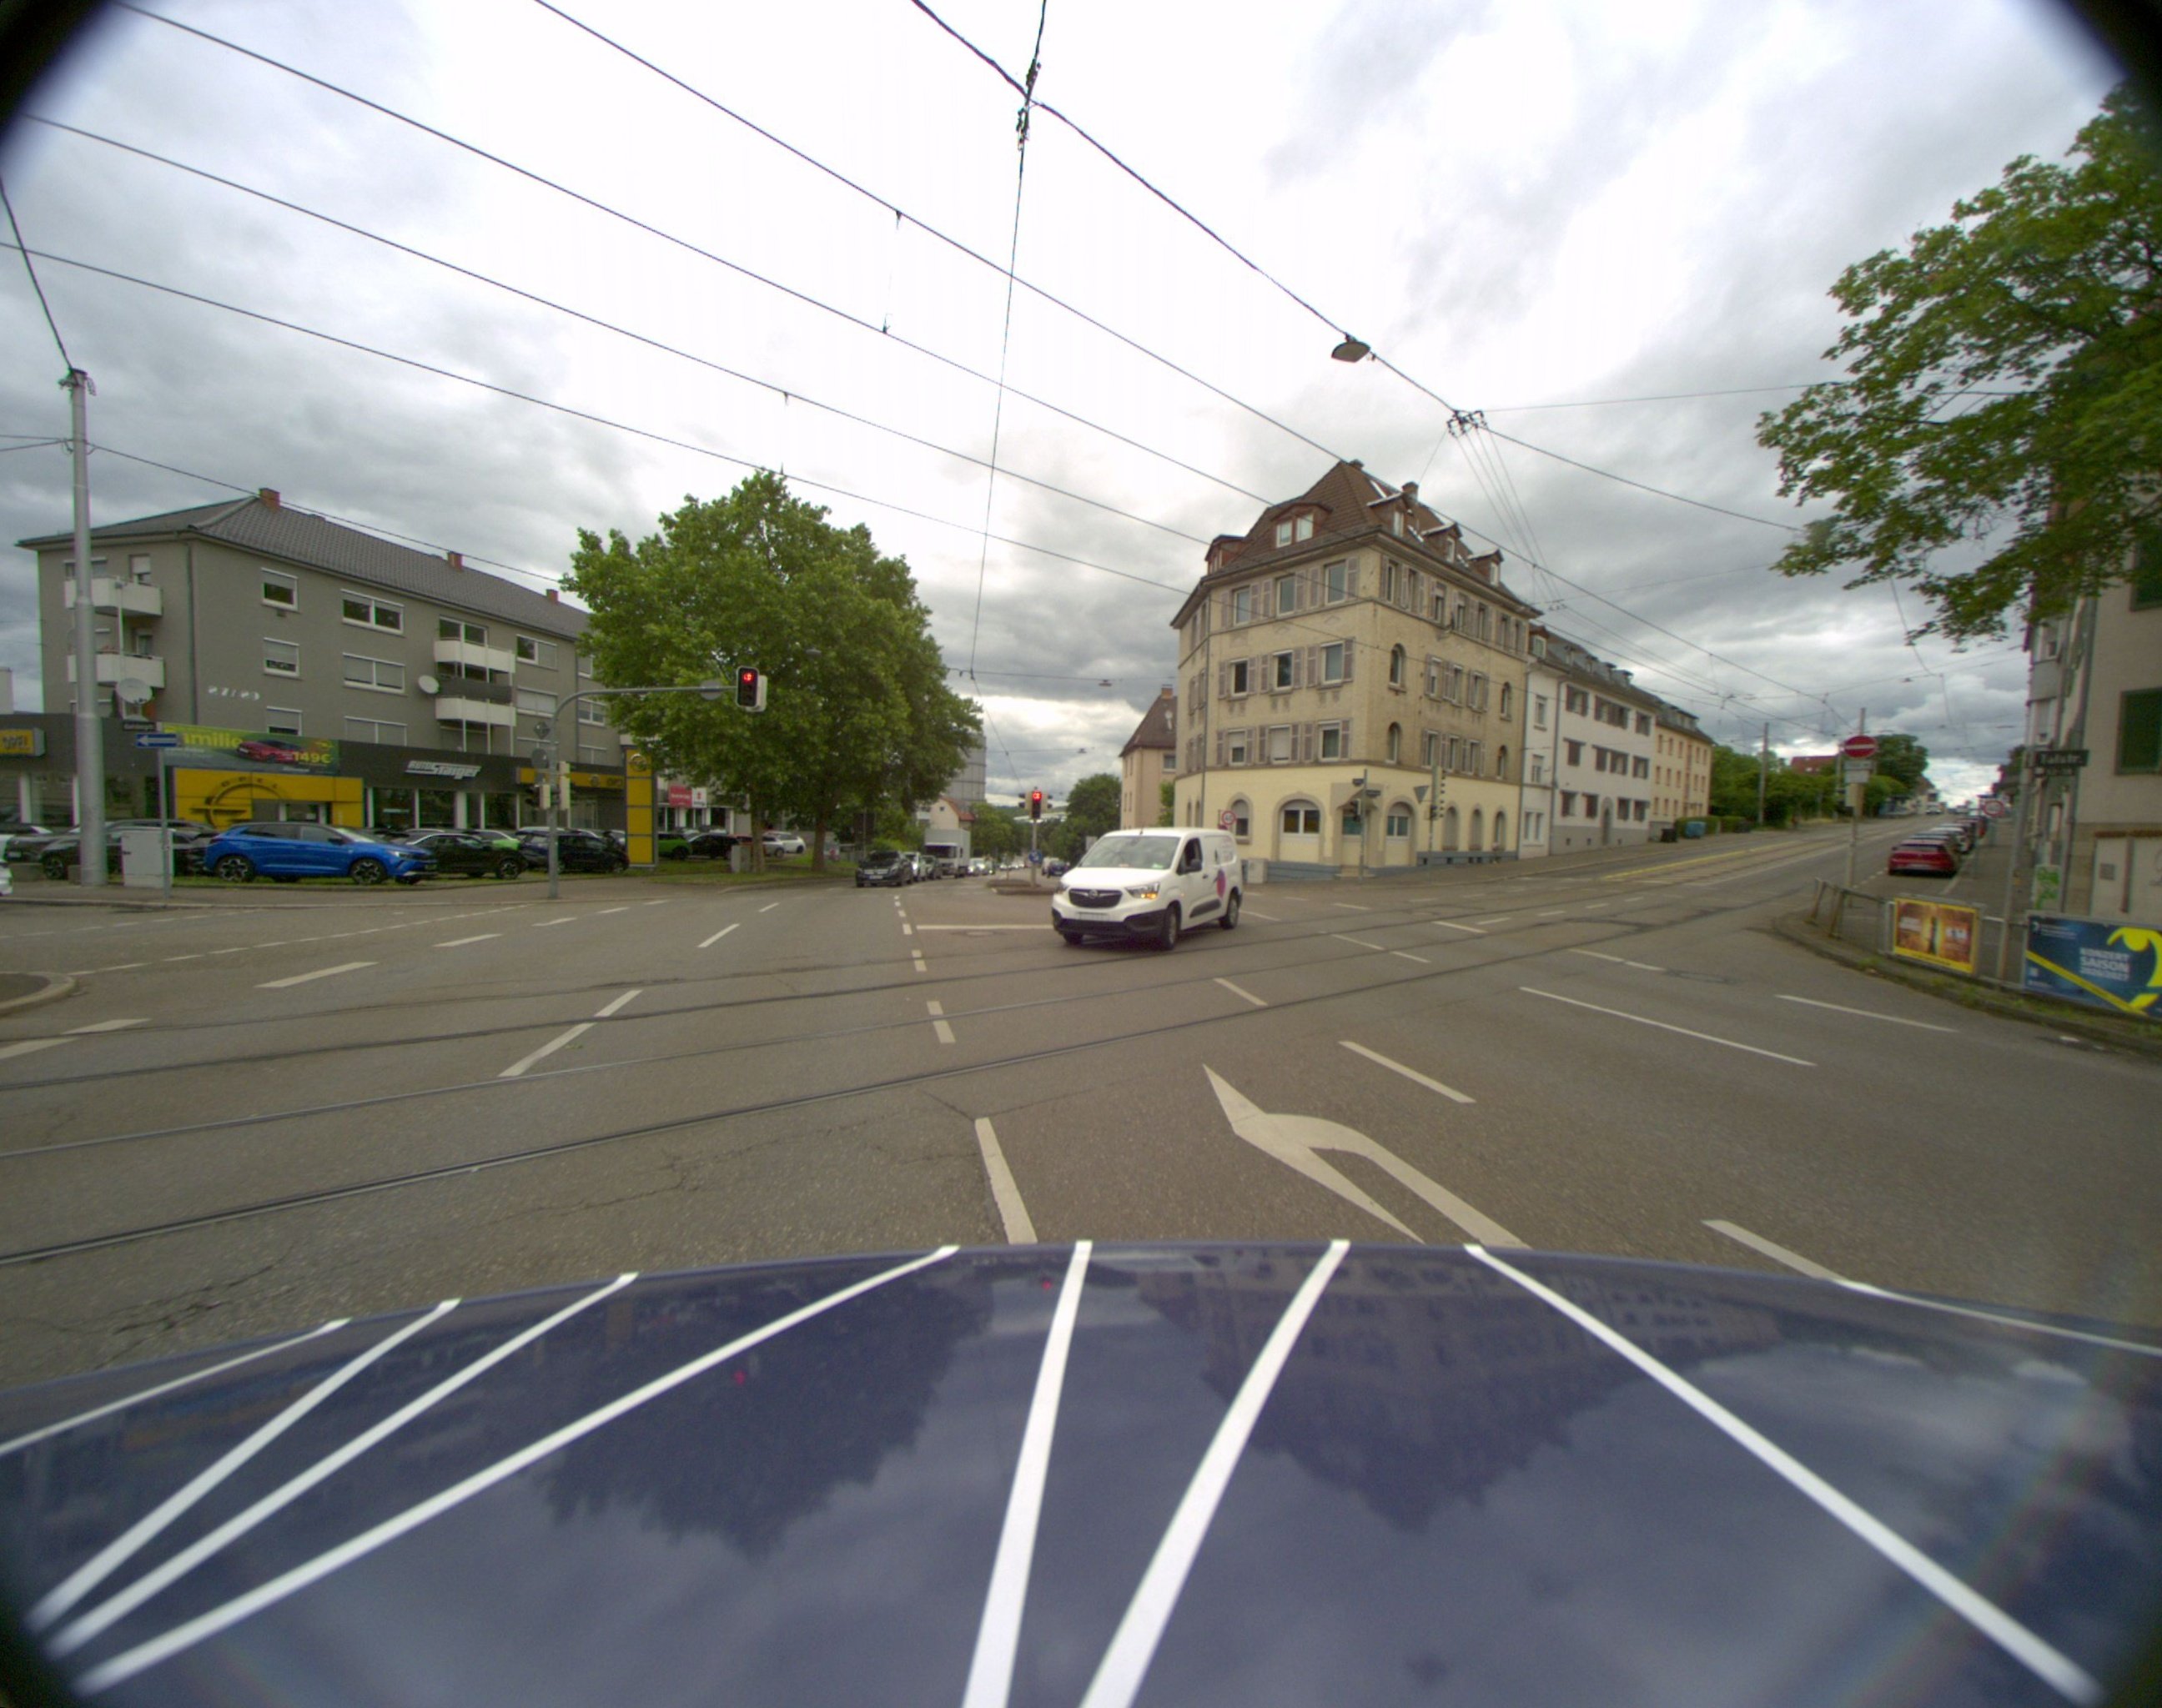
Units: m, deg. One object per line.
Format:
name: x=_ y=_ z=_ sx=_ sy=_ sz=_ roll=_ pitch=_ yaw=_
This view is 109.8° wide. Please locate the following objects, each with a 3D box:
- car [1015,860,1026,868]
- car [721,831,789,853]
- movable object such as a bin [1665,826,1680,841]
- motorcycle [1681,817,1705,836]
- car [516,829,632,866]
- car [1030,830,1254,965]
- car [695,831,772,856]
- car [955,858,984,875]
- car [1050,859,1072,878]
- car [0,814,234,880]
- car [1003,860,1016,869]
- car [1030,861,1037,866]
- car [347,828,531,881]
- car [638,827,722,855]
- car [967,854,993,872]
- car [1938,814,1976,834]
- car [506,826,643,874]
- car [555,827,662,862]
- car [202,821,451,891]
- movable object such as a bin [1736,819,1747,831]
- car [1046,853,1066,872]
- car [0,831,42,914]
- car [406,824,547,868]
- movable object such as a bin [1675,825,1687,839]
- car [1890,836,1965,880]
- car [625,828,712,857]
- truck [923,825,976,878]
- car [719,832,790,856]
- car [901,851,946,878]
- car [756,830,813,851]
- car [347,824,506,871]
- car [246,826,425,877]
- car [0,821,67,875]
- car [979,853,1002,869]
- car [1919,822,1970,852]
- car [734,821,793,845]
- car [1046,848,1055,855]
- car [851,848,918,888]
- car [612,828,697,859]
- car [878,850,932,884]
car: x=-12.574 y=2.121 z=157.559 sx=1.999 sy=1.590 sz=3.999 roll=-1 pitch=0 yaw=-2
car: x=-23.119 y=-0.838 z=53.925 sx=4.008 sy=1.496 sz=1.857 roll=1 pitch=1 yaw=-39
movable object such as a bin: x=41.948 y=-1.490 z=53.911 sx=0.603 sy=1.004 sz=0.636 roll=-3 pitch=8 yaw=-39
motorcycle: x=47.849 y=-2.147 z=59.400 sx=1.939 sy=1.384 sz=0.729 roll=-2 pitch=8 yaw=-33
car: x=-23.154 y=-0.285 z=34.846 sx=4.000 sy=1.541 sz=1.861 roll=1 pitch=1 yaw=-7
car: x=1.254 y=0.541 z=12.766 sx=1.884 sy=1.828 sz=4.685 roll=1 pitch=1 yaw=30
car: x=-21.918 y=-0.655 z=48.043 sx=1.857 sy=1.496 sz=4.009 roll=3 pitch=1 yaw=39
car: x=-9.256 y=1.012 z=63.594 sx=1.918 sy=1.291 sz=4.407 roll=0 pitch=1 yaw=-2
car: x=-1.615 y=1.156 z=62.506 sx=1.759 sy=1.439 sz=3.750 roll=0 pitch=1 yaw=-1
car: x=-29.238 y=-0.213 z=23.238 sx=1.710 sy=1.770 sz=4.247 roll=2 pitch=1 yaw=6
car: x=-12.432 y=1.800 z=132.970 sx=1.999 sy=1.590 sz=3.999 roll=-1 pitch=0 yaw=-2
car: x=-15.215 y=3.029 z=241.636 sx=1.999 sy=1.590 sz=3.999 roll=-1 pitch=0 yaw=-2
car: x=-20.082 y=0.059 z=24.000 sx=1.825 sy=1.468 sz=4.007 roll=2 pitch=0 yaw=19
car: x=-23.397 y=-0.748 z=44.393 sx=4.008 sy=1.496 sz=1.857 roll=1 pitch=1 yaw=-39
car: x=-9.467 y=0.823 z=71.713 sx=1.999 sy=1.620 sz=4.407 roll=0 pitch=1 yaw=-2
car: x=72.687 y=-2.550 z=63.099 sx=3.958 sy=1.451 sz=1.738 roll=-5 pitch=8 yaw=-44
car: x=-19.998 y=-0.110 z=30.215 sx=1.825 sy=1.598 sz=4.176 roll=8 pitch=1 yaw=19
car: x=-22.842 y=-0.449 z=36.879 sx=4.000 sy=1.541 sz=1.861 roll=1 pitch=1 yaw=-7
car: x=-19.555 y=0.067 z=19.923 sx=4.261 sy=1.568 sz=1.827 roll=3 pitch=0 yaw=-13
movable object such as a bin: x=61.058 y=-2.666 z=70.231 sx=0.540 sy=1.054 sz=0.668 roll=-3 pitch=4 yaw=-39
car: x=-2.754 y=0.861 z=82.336 sx=1.870 sy=1.872 sz=4.283 roll=3 pitch=0 yaw=-5
car: x=-22.282 y=0.280 z=13.978 sx=4.136 sy=1.526 sz=1.919 roll=2 pitch=1 yaw=6
car: x=-23.682 y=-0.316 z=29.874 sx=3.998 sy=1.541 sz=1.862 roll=2 pitch=1 yaw=-3
movable object such as a bin: x=42.958 y=-1.575 z=54.390 sx=0.563 sy=1.004 sz=0.499 roll=8 pitch=8 yaw=41
car: x=34.798 y=0.101 z=31.207 sx=4.268 sy=1.431 sz=1.784 roll=-4 pitch=7 yaw=-39
car: x=-22.966 y=-0.610 z=42.341 sx=4.008 sy=1.496 sz=1.750 roll=1 pitch=1 yaw=-39
truck: x=-9.301 y=-0.199 z=54.541 sx=2.772 sy=3.482 sz=8.166 roll=0 pitch=1 yaw=-3
car: x=-22.007 y=-0.639 z=51.321 sx=1.857 sy=1.496 sz=4.009 roll=3 pitch=2 yaw=42
car: x=-9.113 y=0.579 z=44.268 sx=1.999 sy=1.457 sz=4.406 roll=0 pitch=1 yaw=-5
car: x=-22.491 y=-0.979 z=57.761 sx=1.786 sy=1.496 sz=3.625 roll=2 pitch=1 yaw=34
car: x=-23.717 y=-0.248 z=27.684 sx=4.000 sy=1.541 sz=1.861 roll=1 pitch=1 yaw=-8
car: x=-24.674 y=-0.098 z=25.263 sx=3.998 sy=1.541 sz=1.862 roll=2 pitch=1 yaw=-3
car: x=-32.206 y=-0.194 z=21.321 sx=1.790 sy=1.526 sz=4.122 roll=3 pitch=1 yaw=14
car: x=-9.648 y=0.740 z=81.144 sx=1.999 sy=1.620 sz=4.407 roll=0 pitch=1 yaw=-2
car: x=49.969 y=-1.007 z=43.934 sx=3.807 sy=1.503 sz=1.739 roll=-4 pitch=6 yaw=-39
car: x=-25.873 y=-1.694 z=61.935 sx=4.008 sy=1.812 sz=1.857 roll=1 pitch=2 yaw=-39
car: x=-6.645 y=-0.496 z=167.320 sx=1.999 sy=1.590 sz=3.999 roll=-1 pitch=0 yaw=-2
car: x=-8.067 y=0.540 z=31.566 sx=1.999 sy=1.517 sz=4.254 roll=0 pitch=1 yaw=-5
car: x=-22.308 y=-0.532 z=39.775 sx=3.619 sy=1.544 sz=1.616 roll=1 pitch=2 yaw=-42
car: x=-8.720 y=0.597 z=38.006 sx=1.999 sy=1.517 sz=4.254 roll=0 pitch=1 yaw=-5
